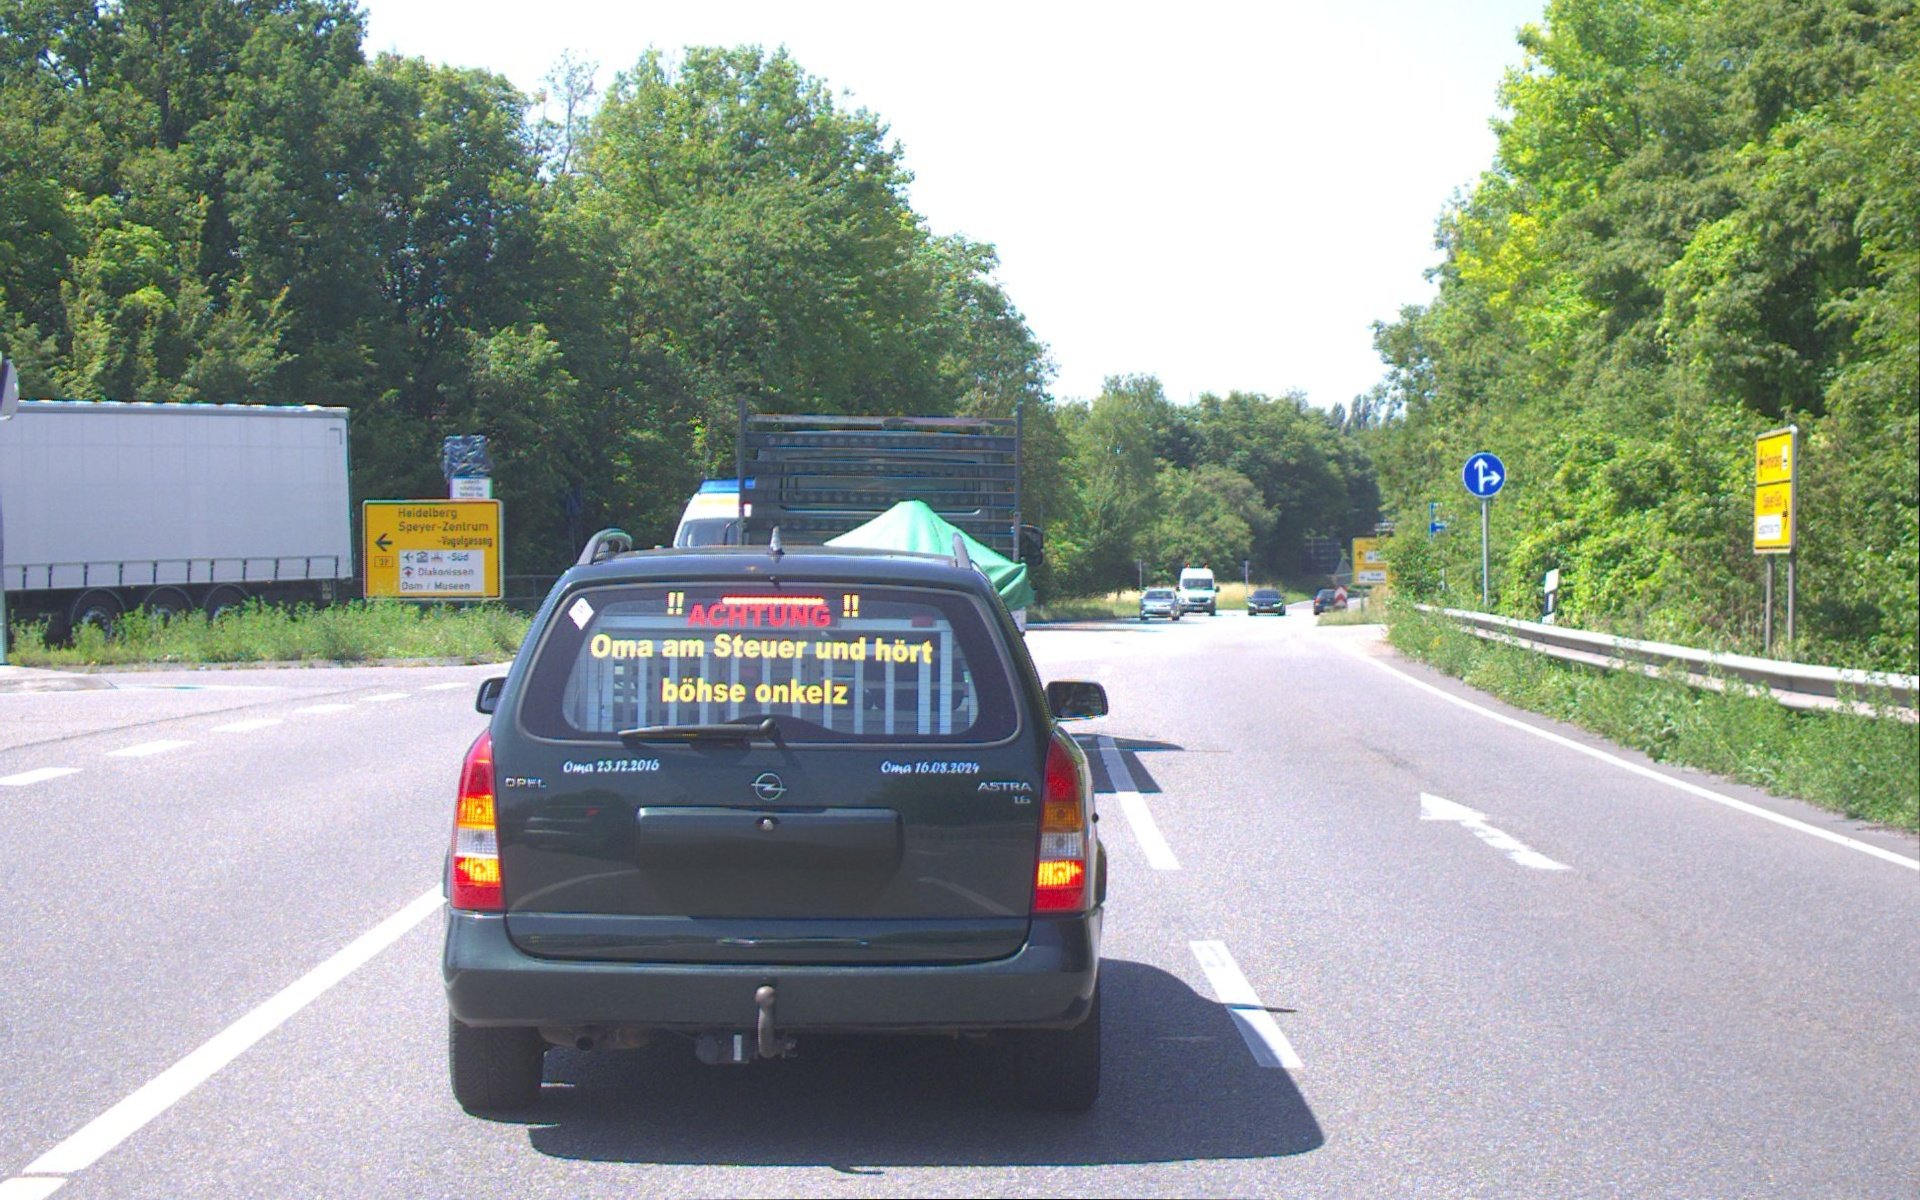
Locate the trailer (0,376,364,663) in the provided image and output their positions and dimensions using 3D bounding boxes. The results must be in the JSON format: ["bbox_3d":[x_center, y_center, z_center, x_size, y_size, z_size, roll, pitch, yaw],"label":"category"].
[{"bbox_3d":[-15.012,-1.252,52.683,2.995,4.261,13.766,2,2,33],"label":"trailer"}]

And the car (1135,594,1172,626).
[{"bbox_3d":[8.864,0.449,157.450,1.644,1.414,3.766,1,1,3],"label":"car"}]

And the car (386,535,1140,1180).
[{"bbox_3d":[-0.443,0.558,9.816,1.720,1.452,3.798,1,1,0],"label":"car"}]

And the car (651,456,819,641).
[{"bbox_3d":[-3.024,-0.724,47.135,1.990,2.360,5.182,1,1,-1],"label":"car"}]

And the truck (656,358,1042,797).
[{"bbox_3d":[-0.578,-0.190,23.512,2.139,2.556,6.639,1,1,2],"label":"truck"}]

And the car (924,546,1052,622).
[{"bbox_3d":[0.771,-0.457,90.560,2.011,1.917,5.190,1,1,16],"label":"car"}]

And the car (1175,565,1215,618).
[{"bbox_3d":[12.826,-0.481,187.609,2.105,2.840,6.011,1,1,4],"label":"car"}]
